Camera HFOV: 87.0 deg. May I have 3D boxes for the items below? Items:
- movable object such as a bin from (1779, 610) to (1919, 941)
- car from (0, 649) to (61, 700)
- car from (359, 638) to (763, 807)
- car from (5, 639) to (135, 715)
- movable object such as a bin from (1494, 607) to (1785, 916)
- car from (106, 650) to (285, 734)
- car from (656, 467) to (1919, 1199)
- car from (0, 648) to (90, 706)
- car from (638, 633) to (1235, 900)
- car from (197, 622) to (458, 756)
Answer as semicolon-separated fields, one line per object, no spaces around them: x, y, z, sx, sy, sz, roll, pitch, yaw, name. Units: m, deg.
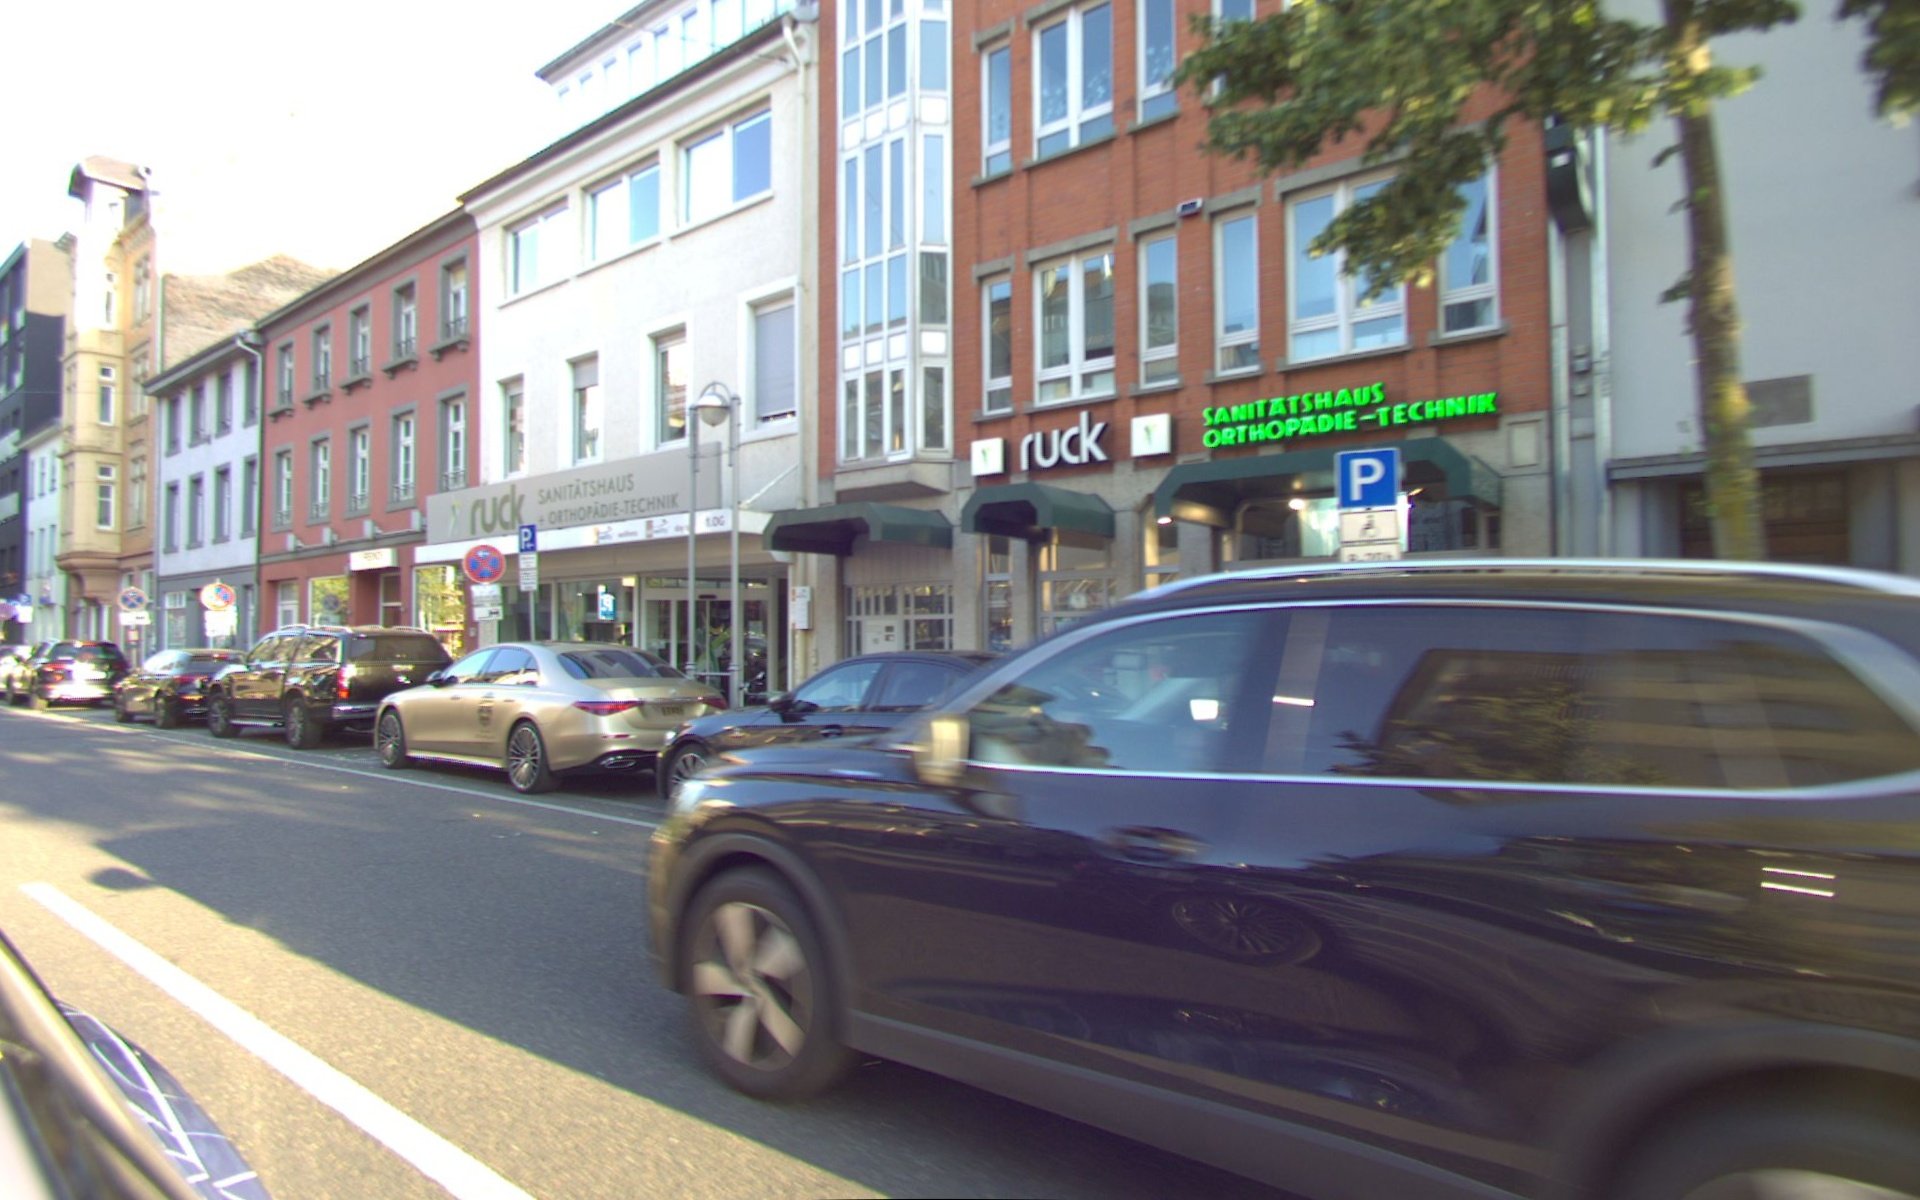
5.115;0.876;5.274;1.205;1.632;0.774;-2;0;35;movable object such as a bin
-28.704;2.237;30.626;3.562;1.468;1.652;-2;-5;40;car
-4.637;1.222;11.343;5.102;1.484;1.973;-3;-5;39;car
-21.780;1.858;24.720;4.046;1.696;1.703;-2;-5;40;car
4.036;0.880;6.096;1.334;1.632;0.774;-2;-1;35;movable object such as a bin
-14.774;1.719;19.506;4.008;1.448;1.685;-2;-5;37;car
1.194;0.705;2.720;4.289;1.688;1.713;-2;-3;38;car
-25.562;2.107;27.934;3.687;1.481;1.668;-2;-5;40;car
-0.386;1.048;7.756;4.535;1.484;1.704;-2;-5;38;car
-9.924;1.310;15.726;4.929;1.793;1.705;-2;-4;36;car
